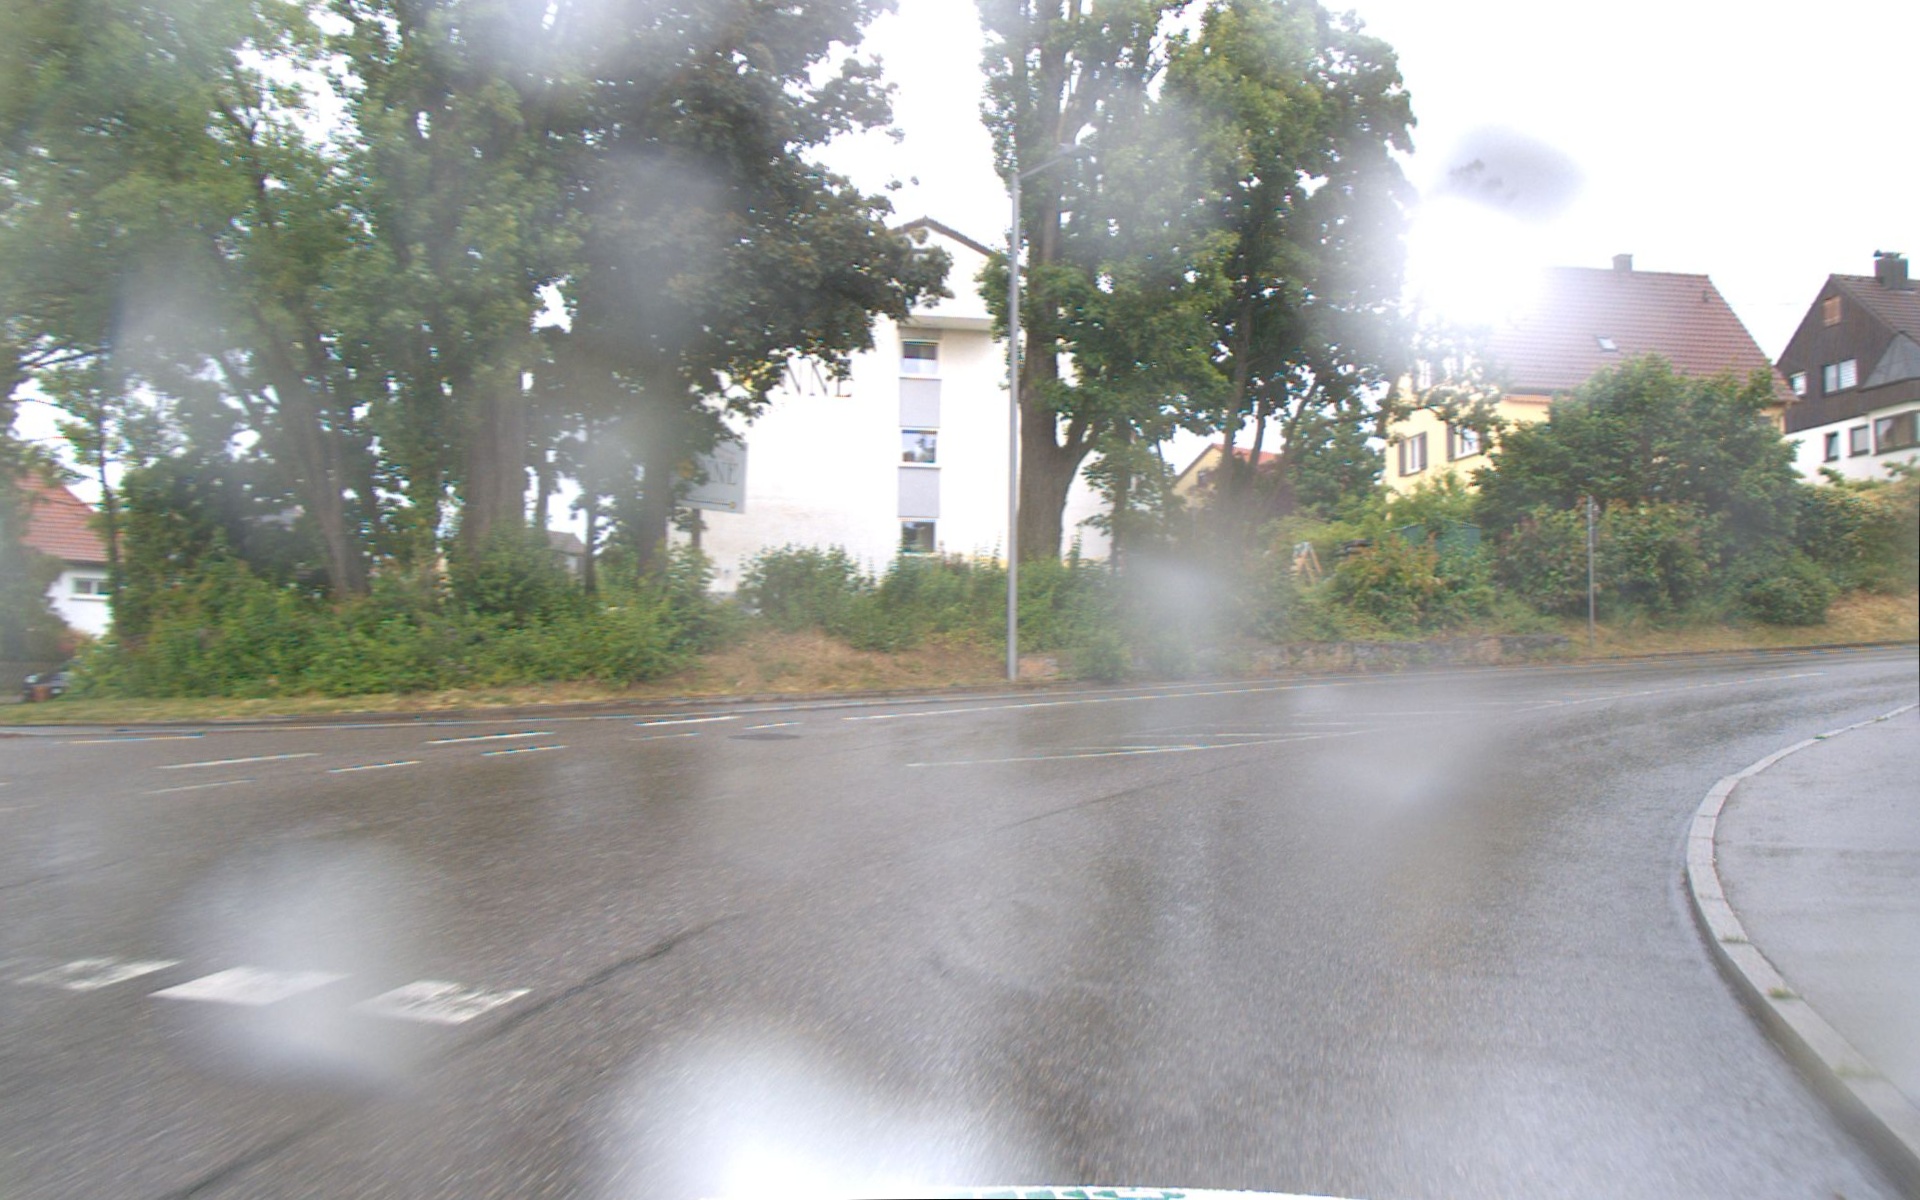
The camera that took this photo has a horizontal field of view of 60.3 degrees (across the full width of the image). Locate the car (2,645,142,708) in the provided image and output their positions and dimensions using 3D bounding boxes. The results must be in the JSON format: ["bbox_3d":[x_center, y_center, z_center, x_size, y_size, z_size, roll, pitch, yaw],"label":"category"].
[{"bbox_3d":[-23.611,2.006,44.156,1.956,1.534,3.993,0,-1,-7],"label":"car"}]
